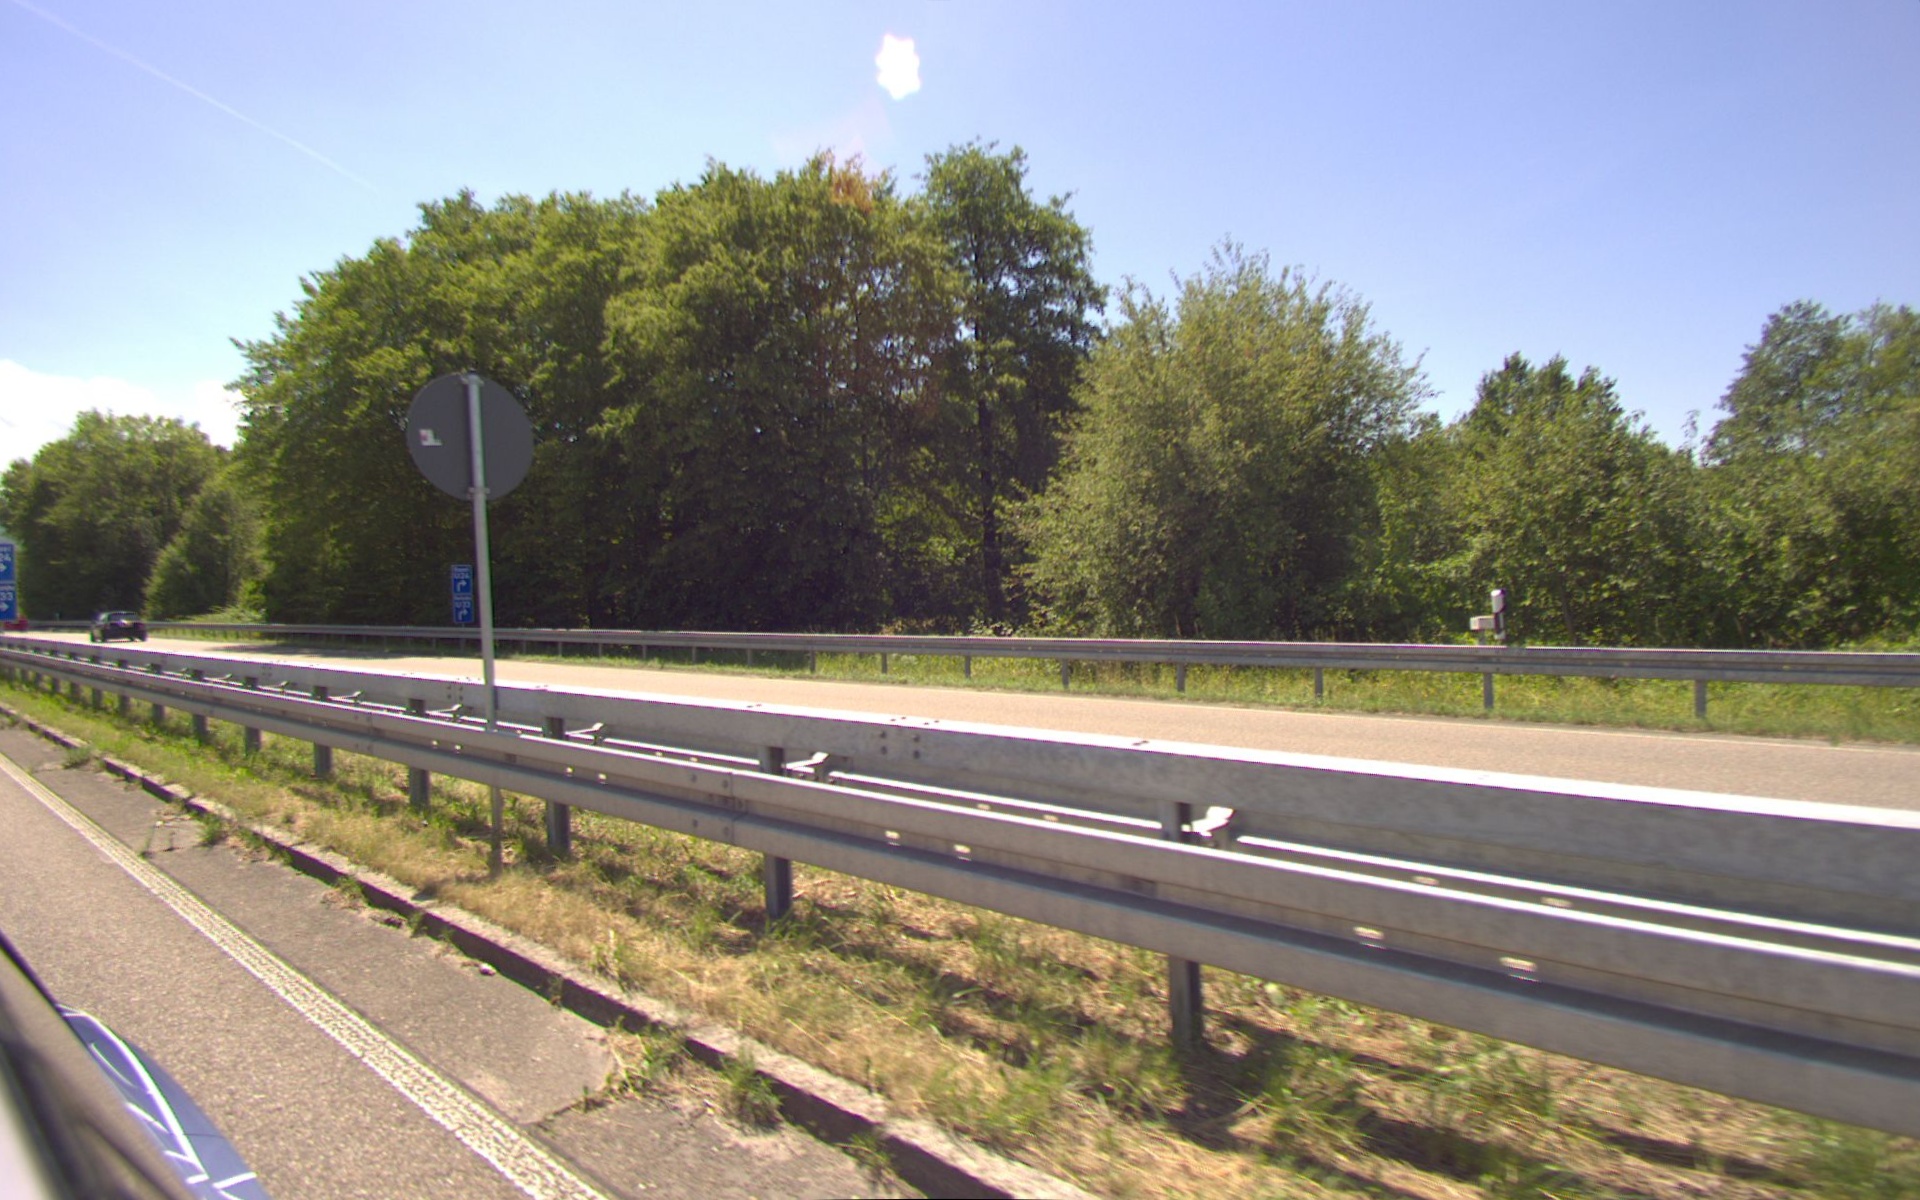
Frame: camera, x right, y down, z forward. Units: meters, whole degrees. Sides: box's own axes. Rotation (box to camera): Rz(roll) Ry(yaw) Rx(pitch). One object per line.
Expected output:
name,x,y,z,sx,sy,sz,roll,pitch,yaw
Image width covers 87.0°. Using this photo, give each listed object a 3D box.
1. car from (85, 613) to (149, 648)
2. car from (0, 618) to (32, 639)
car,-39.690,1.416,47.641,3.772,1.479,1.779,-1,1,42
car,-70.975,2.119,75.830,4.575,1.429,1.757,-1,0,42
